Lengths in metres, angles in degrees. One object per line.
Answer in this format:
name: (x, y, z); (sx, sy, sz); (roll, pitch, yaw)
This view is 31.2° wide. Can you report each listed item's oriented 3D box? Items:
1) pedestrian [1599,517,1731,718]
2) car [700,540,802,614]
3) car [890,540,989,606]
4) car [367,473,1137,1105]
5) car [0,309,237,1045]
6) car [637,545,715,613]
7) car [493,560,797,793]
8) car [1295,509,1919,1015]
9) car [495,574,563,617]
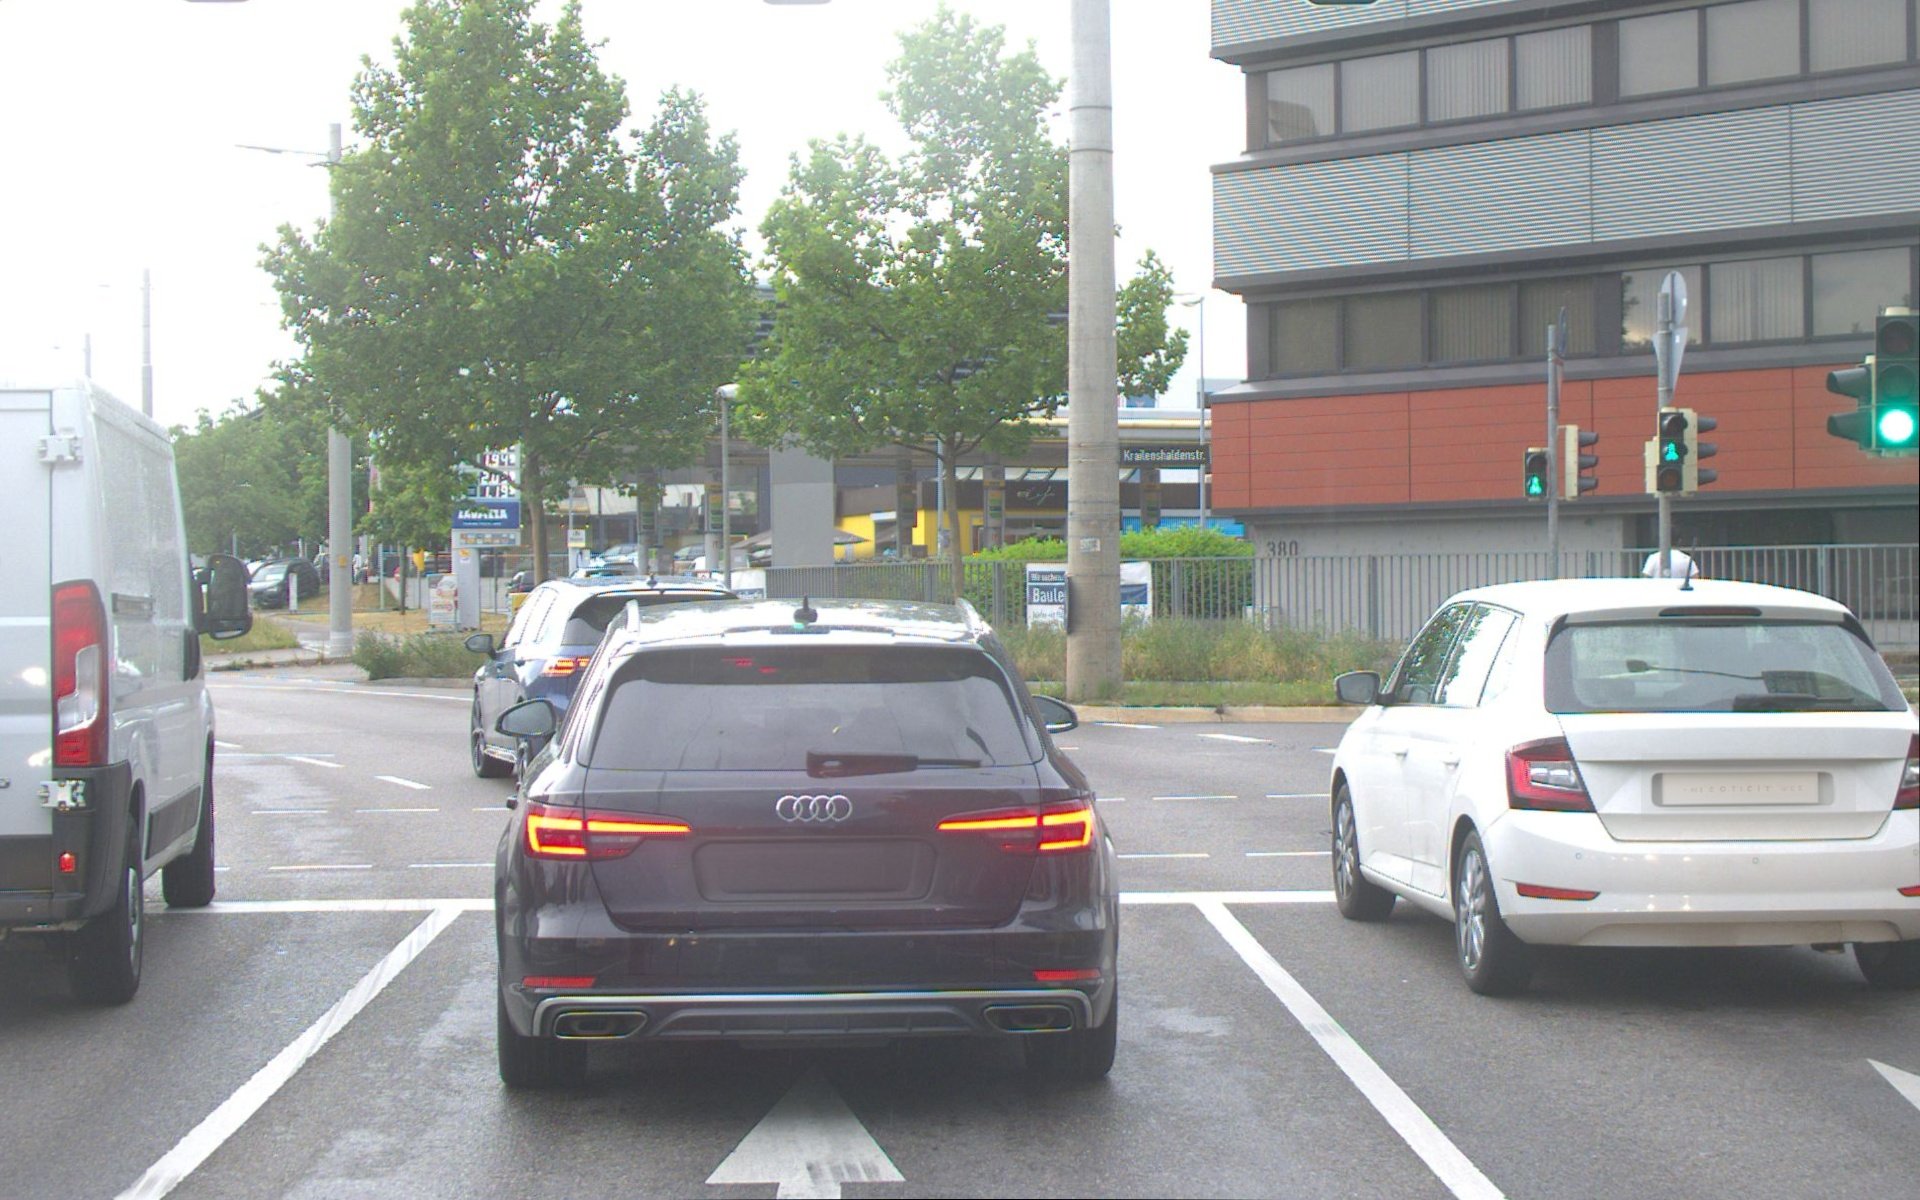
pedestrian: (7.629, 0.170, 37.262); (1.143, 2.118, 1.222); (-1, 2, -1)
car: (-5.944, -0.649, 97.496); (1.993, 2.025, 4.001); (-1, 0, -16)
car: (-0.683, -0.851, 109.699); (1.869, 2.007, 3.775); (2, -1, -21)
car: (-0.557, 0.492, 10.943); (1.993, 1.632, 4.000); (0, 0, 0)
car: (-4.166, 0.224, 13.017); (2.444, 2.286, 4.905); (2, -1, -9)
car: (-8.795, -0.619, 106.290); (1.678, 2.007, 3.543); (2, -1, -16)
car: (-2.242, 0.500, 23.619); (1.893, 1.460, 3.910); (0, -1, -8)
car: (2.546, 0.560, 13.310); (1.828, 1.650, 4.000); (1, -1, -4)
car: (-16.155, -0.174, 128.716); (1.791, 1.586, 4.001); (-1, 0, -18)
